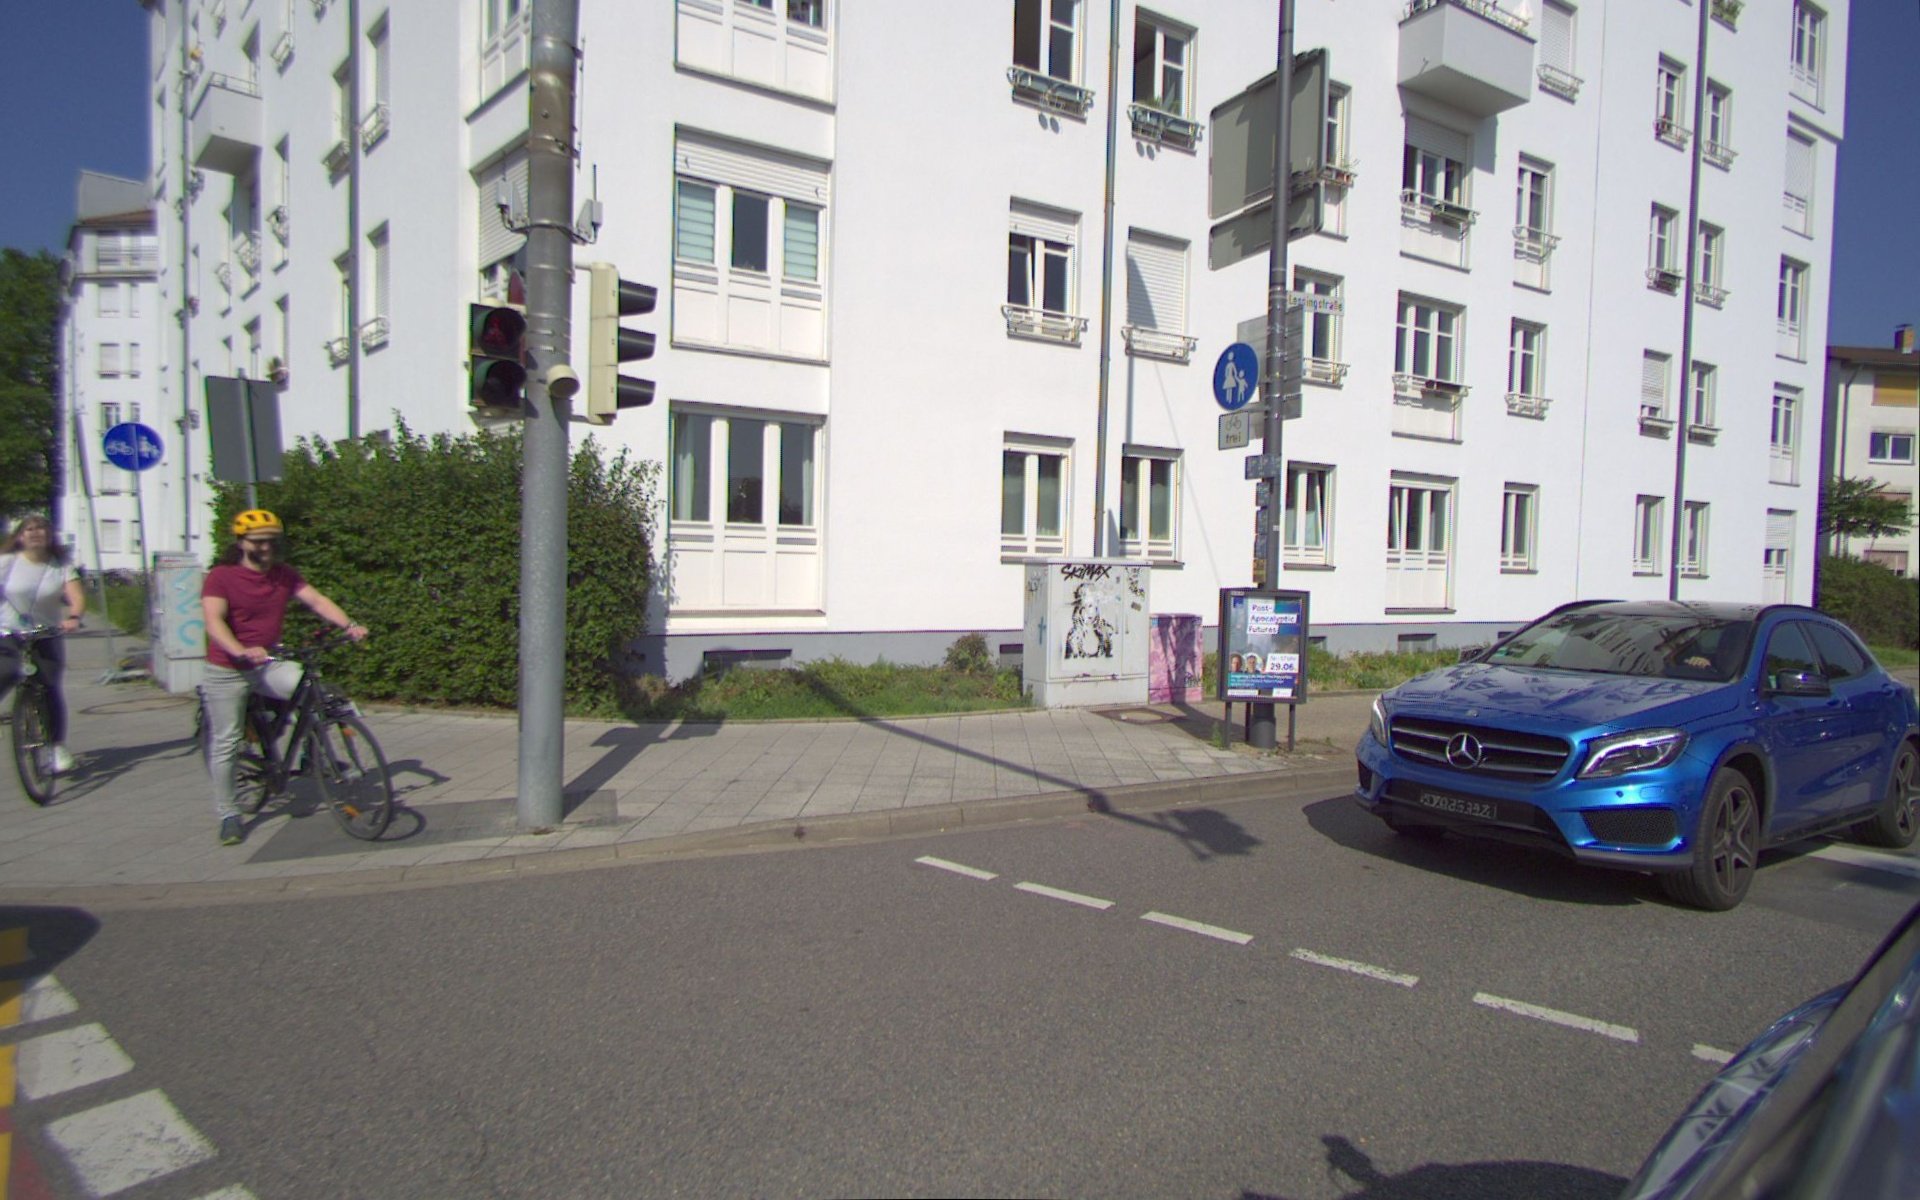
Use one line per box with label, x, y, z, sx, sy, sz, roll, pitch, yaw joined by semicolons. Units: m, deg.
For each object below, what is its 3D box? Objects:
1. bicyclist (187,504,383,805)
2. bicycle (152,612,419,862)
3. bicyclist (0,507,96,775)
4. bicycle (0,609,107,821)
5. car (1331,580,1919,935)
bicyclist;-3.680;0.254;5.517;0.912;1.496;0.590;1;2;34
bicycle;-3.744;0.663;5.569;1.802;1.113;0.597;2;2;35
bicyclist;-5.959;0.231;6.440;0.915;1.598;0.614;2;2;44
bicycle;-5.916;0.655;6.406;1.781;1.113;0.618;2;2;44
car;4.437;0.688;6.222;4.461;1.499;1.677;1;1;-33
